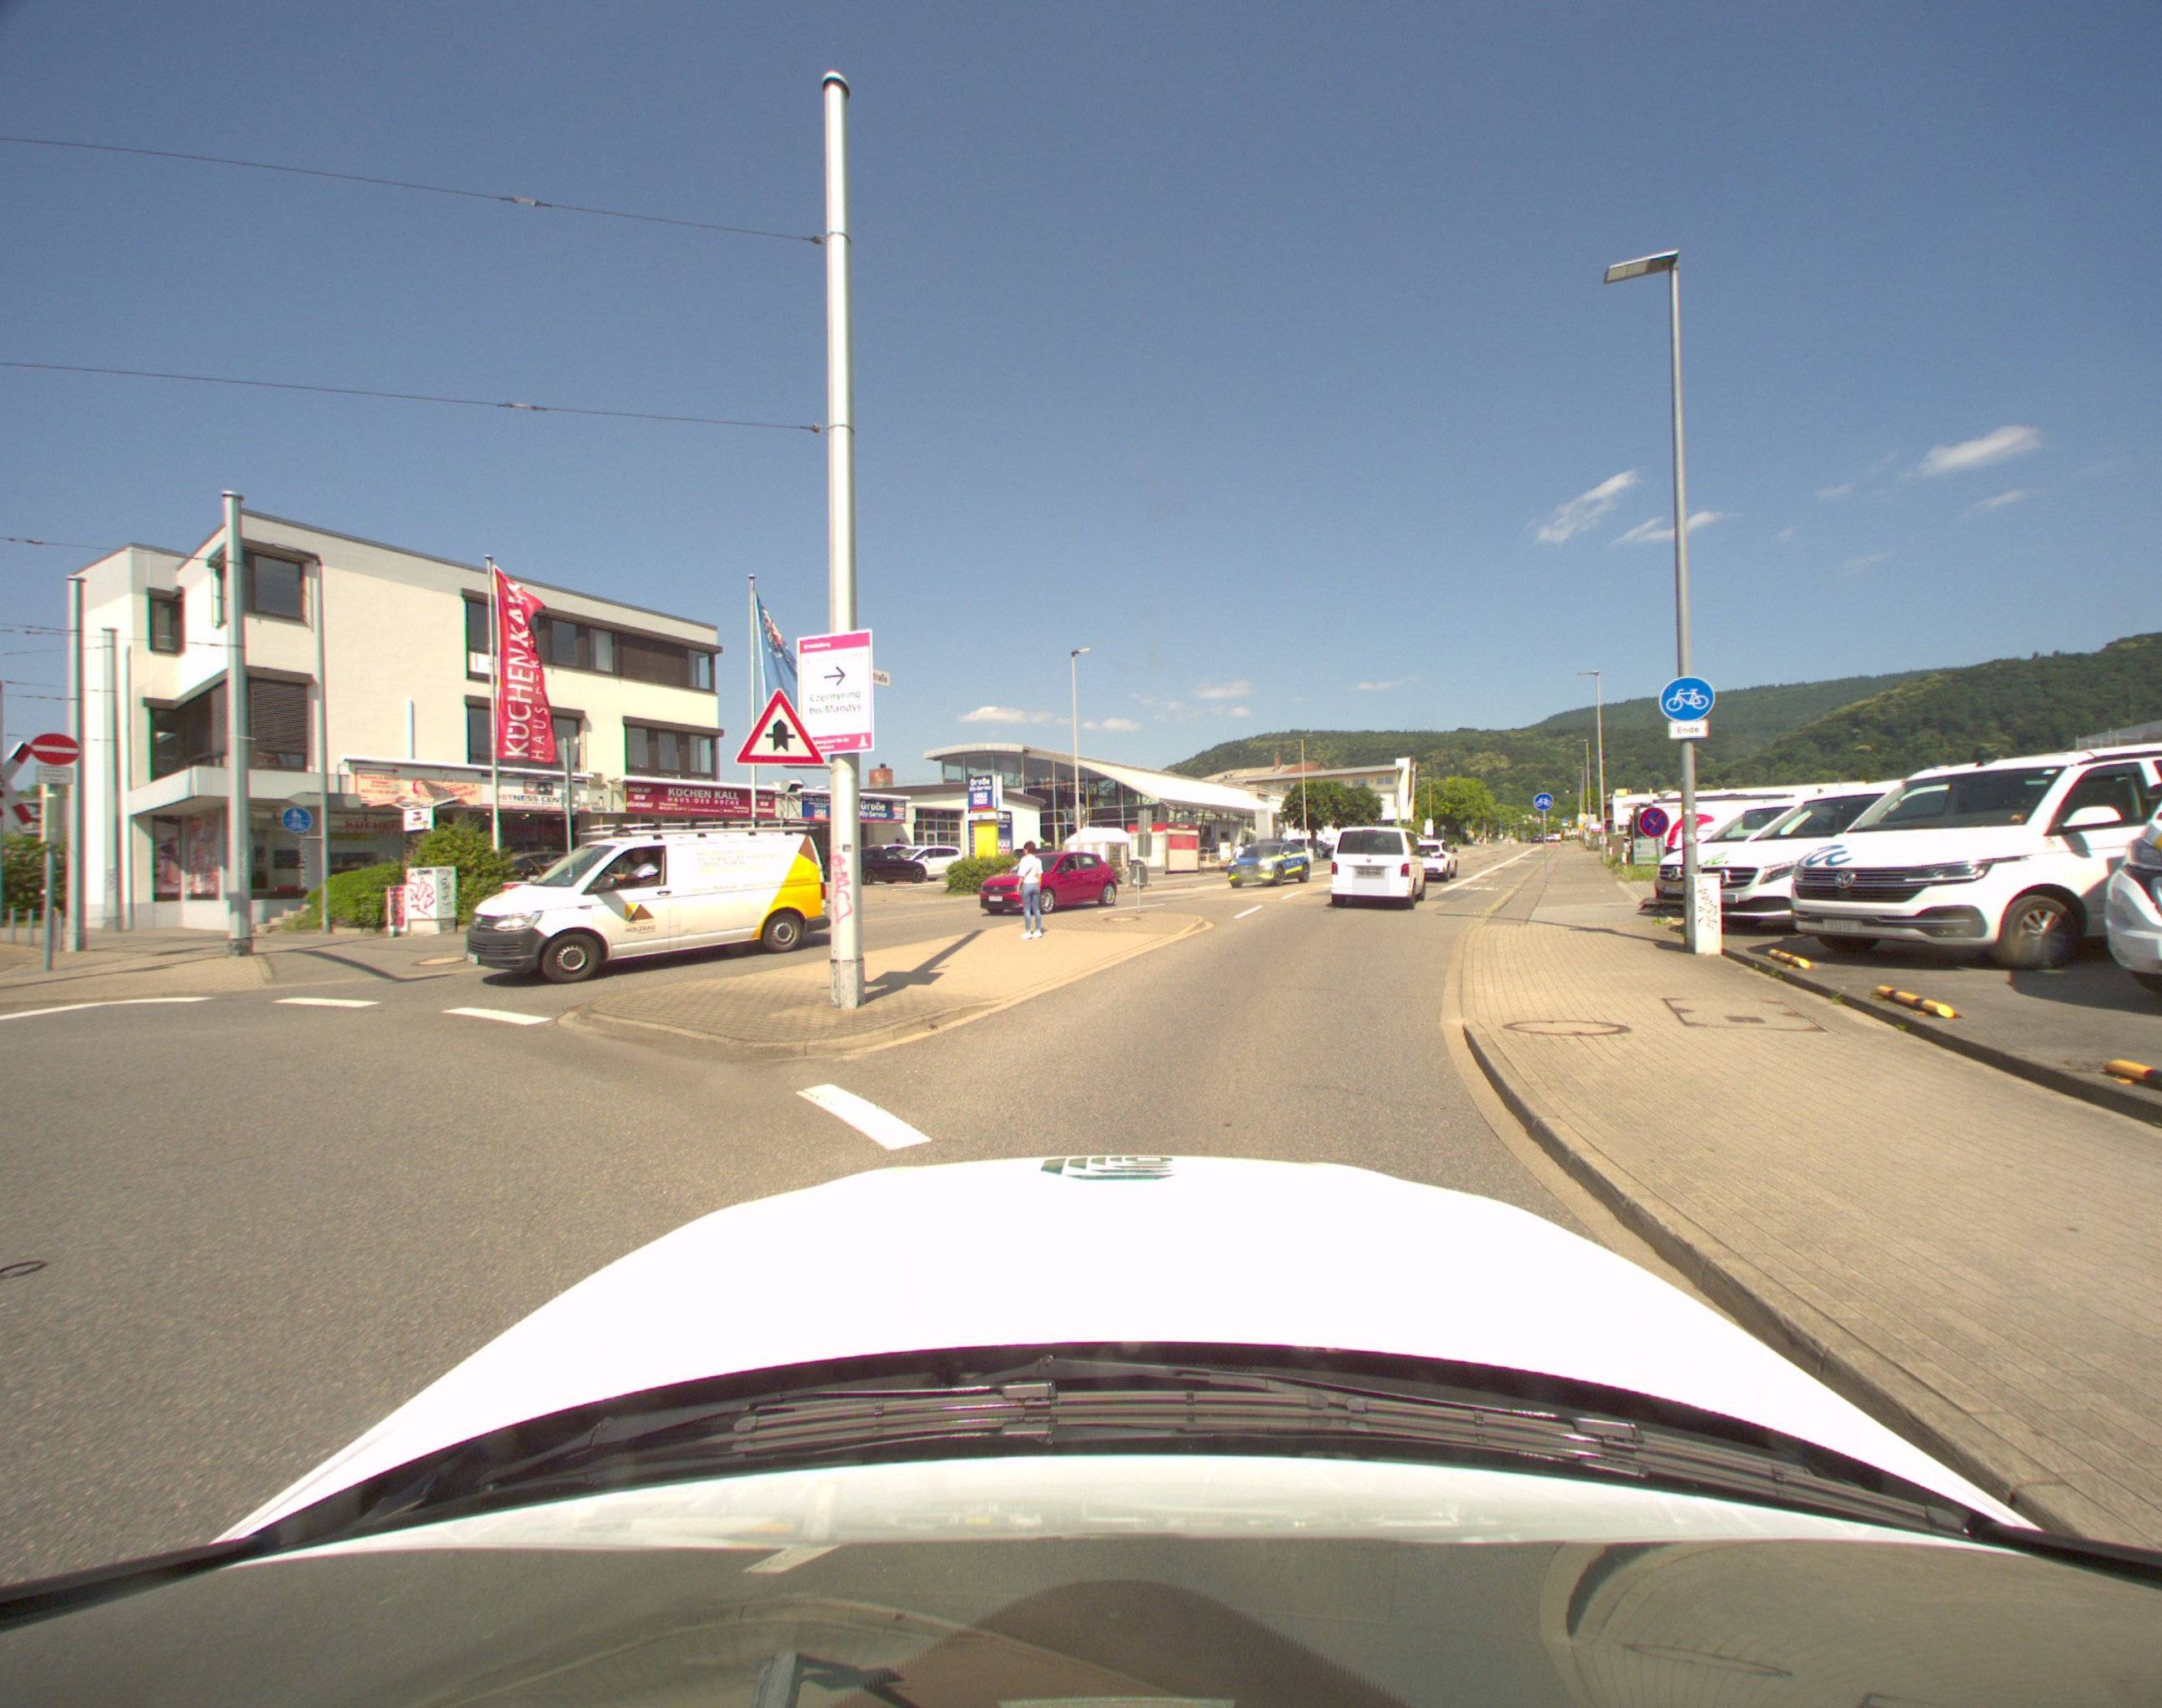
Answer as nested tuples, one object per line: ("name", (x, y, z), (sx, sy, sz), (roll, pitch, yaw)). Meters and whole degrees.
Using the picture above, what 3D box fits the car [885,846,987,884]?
("car", (-6.693, 0.459, 38.242), (1.862, 1.588, 4.959), (-4, -1, 31))

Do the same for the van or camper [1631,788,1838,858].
("van or camper", (27.643, -1.233, 34.961), (6.541, 2.561, 3.422), (-2, 0, 33))

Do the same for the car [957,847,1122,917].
("car", (-0.903, 0.629, 19.932), (1.823, 1.464, 4.170), (-2, -1, 35))

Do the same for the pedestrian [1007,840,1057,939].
("pedestrian", (-0.863, 0.601, 14.163), (0.759, 1.656, 0.670), (-1, 0, -10))

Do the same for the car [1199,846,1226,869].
("car", (9.588, 0.234, 59.245), (1.734, 1.585, 3.673), (-2, 0, 11))

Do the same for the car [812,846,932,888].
("car", (-8.036, 0.479, 31.700), (2.007, 1.427, 4.344), (-2, 0, 30))

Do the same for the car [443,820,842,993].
("car", (-6.413, 0.589, 12.501), (2.002, 2.114, 4.965), (-1, 1, 40))

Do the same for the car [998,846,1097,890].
("car", (-1.309, 0.534, 33.373), (1.974, 1.618, 4.026), (-2, 0, 35))

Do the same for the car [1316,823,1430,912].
("car", (7.695, 0.259, 21.126), (2.142, 2.013, 5.048), (0, 1, 27))

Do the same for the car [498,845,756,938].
("car", (-11.176, 0.819, 20.496), (1.940, 1.965, 5.315), (-2, 0, 35))

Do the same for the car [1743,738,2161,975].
("car", (10.066, -0.031, 8.233), (5.130, 2.000, 2.023), (-2, -1, -2))

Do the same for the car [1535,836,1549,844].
("car", (73.457, -2.227, 129.721), (1.702, 1.303, 4.025), (-2, 0, 31))

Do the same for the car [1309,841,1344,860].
("car", (20.798, -0.288, 69.143), (1.740, 1.585, 3.659), (-2, 0, -2))

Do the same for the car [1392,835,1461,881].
("car", (13.841, 0.112, 32.511), (1.975, 1.707, 4.025), (1, 1, 30))

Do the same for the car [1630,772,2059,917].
("car", (12.487, -0.118, 13.629), (5.122, 2.095, 2.050), (-2, -2, 1))

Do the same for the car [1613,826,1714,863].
("car", (30.954, -0.465, 43.481), (4.258, 1.752, 1.991), (-2, -2, 33))

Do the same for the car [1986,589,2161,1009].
("car", (10.077, -0.466, 5.321), (6.126, 2.717, 2.303), (-2, 0, -5))

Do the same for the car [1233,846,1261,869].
("car", (12.113, 0.273, 59.616), (1.736, 1.585, 3.669), (-2, 0, 7))

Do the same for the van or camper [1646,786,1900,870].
("van or camper", (23.943, -0.797, 28.748), (6.441, 2.561, 2.993), (-2, 0, 33))

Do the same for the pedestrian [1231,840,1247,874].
("pedestrian", (8.570, 0.145, 44.104), (0.754, 1.788, 0.787), (-2, 0, 16))

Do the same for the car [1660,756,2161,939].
("car", (11.107, -0.082, 10.992), (5.114, 2.013, 1.931), (-3, 0, 2))

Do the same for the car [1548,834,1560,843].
("car", (92.466, -2.960, 159.156), (1.974, 1.684, 4.025), (-2, 0, 31))

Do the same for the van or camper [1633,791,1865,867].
("van or camper", (25.598, -0.878, 31.789), (6.541, 2.561, 3.776), (-2, 0, 33))

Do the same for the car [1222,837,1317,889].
("car", (7.173, 0.303, 30.702), (1.890, 1.760, 4.480), (-2, 0, 35))
